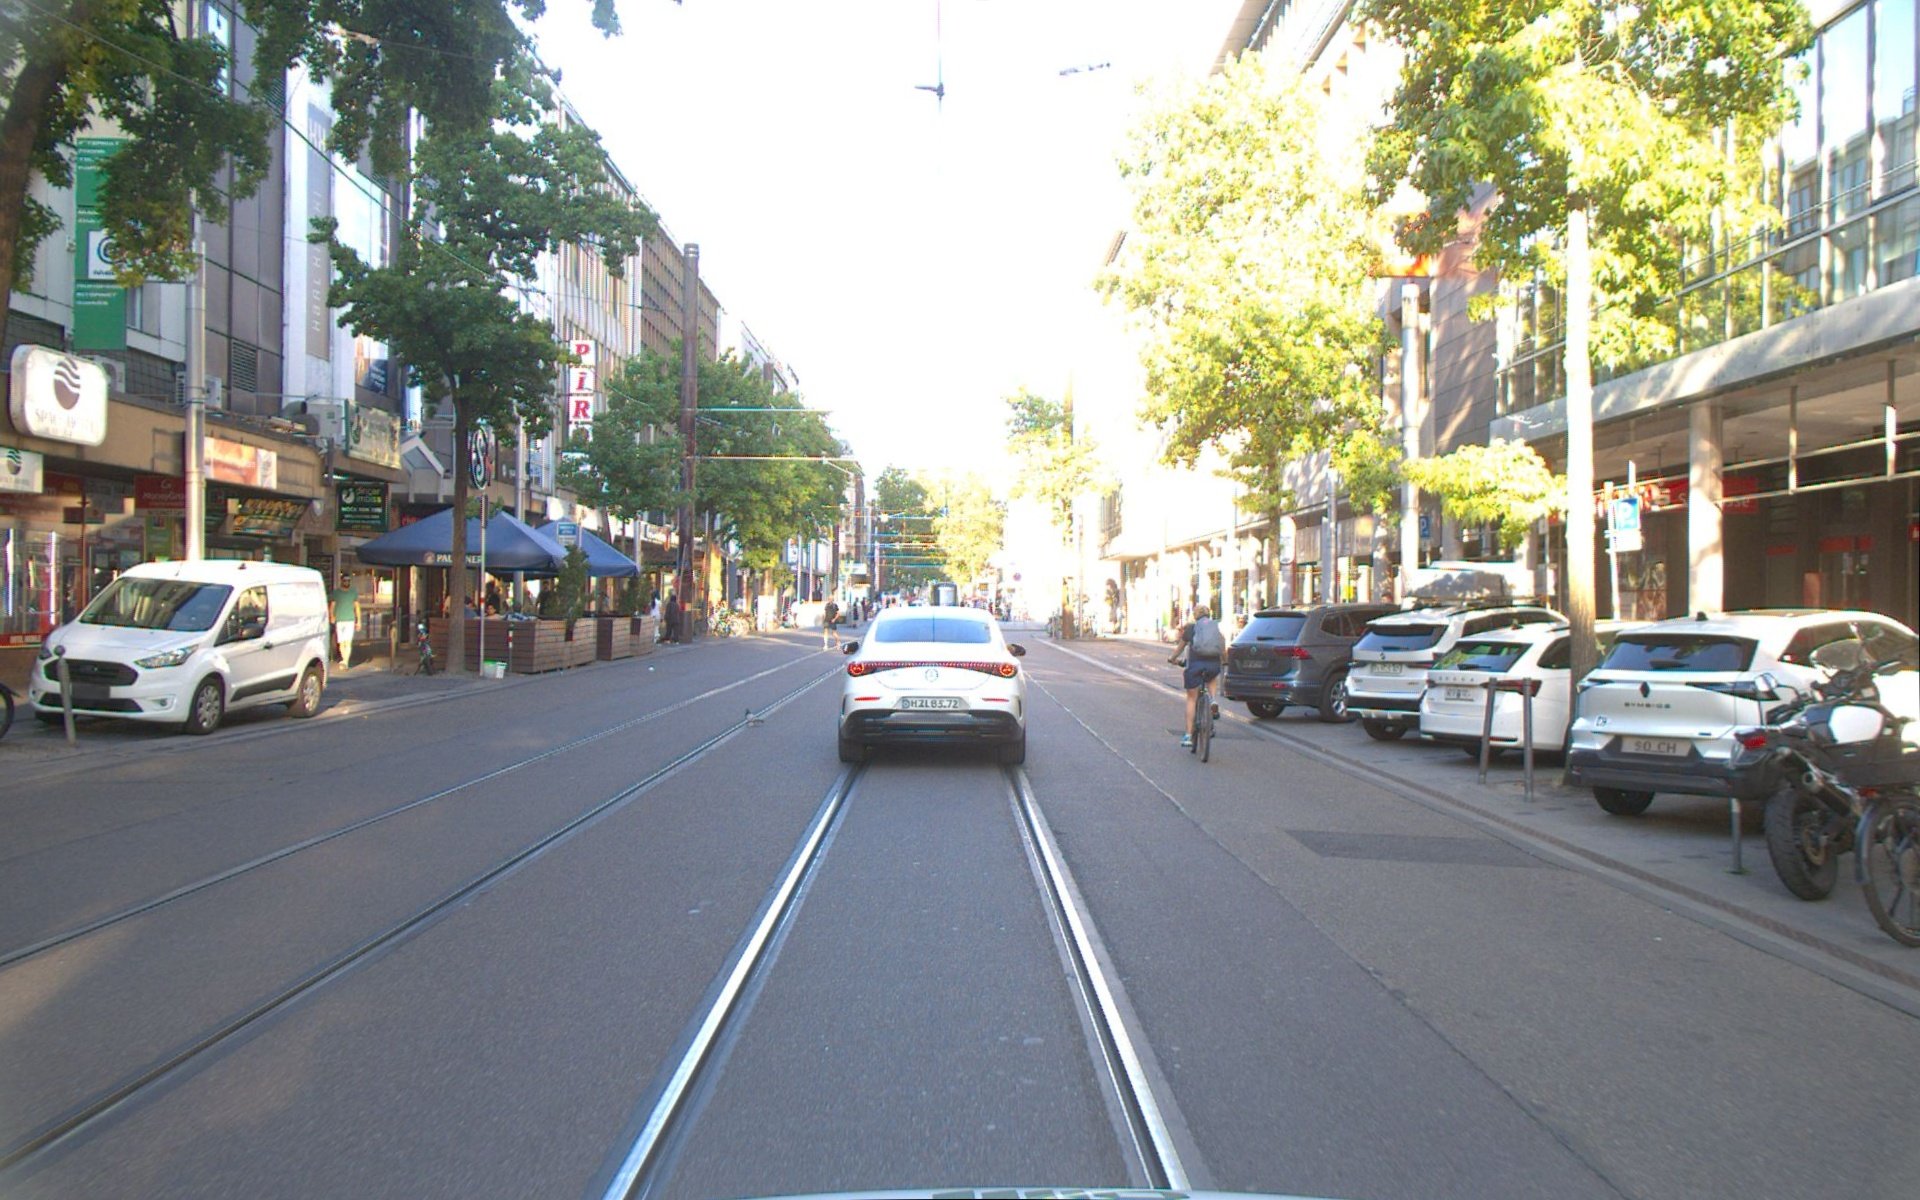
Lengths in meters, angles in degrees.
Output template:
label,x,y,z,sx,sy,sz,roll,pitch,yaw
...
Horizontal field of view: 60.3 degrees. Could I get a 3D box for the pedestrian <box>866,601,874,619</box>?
label,x,y,z,sx,sy,sz,roll,pitch,yaw
pedestrian,-8.006,0.881,146.720,0.646,1.627,0.573,0,0,-2

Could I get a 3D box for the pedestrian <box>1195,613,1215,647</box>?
label,x,y,z,sx,sy,sz,roll,pitch,yaw
pedestrian,8.987,1.106,60.703,0.652,1.219,0.785,1,0,4

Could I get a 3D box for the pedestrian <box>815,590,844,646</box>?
label,x,y,z,sx,sy,sz,roll,pitch,yaw
pedestrian,-4.353,0.604,55.234,0.824,1.832,0.790,2,0,0

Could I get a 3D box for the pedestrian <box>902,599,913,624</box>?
label,x,y,z,sx,sy,sz,roll,pitch,yaw
pedestrian,-3.983,0.881,126.325,0.784,1.813,0.848,2,0,-2

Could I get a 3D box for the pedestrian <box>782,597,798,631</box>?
label,x,y,z,sx,sy,sz,roll,pitch,yaw
pedestrian,-9.283,0.741,90.236,0.771,1.832,0.844,1,0,0

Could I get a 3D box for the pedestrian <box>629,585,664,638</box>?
label,x,y,z,sx,sy,sz,roll,pitch,yaw
pedestrian,-10.906,0.402,57.590,0.832,1.771,0.835,2,0,19

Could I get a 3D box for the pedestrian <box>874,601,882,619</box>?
label,x,y,z,sx,sy,sz,roll,pitch,yaw
pedestrian,-7.300,0.891,146.805,0.646,1.627,0.573,0,0,-2

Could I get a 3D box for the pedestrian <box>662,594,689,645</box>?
label,x,y,z,sx,sy,sz,roll,pitch,yaw
pedestrian,-8.985,0.606,52.242,0.609,1.577,0.852,3,0,0

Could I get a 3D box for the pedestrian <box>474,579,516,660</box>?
label,x,y,z,sx,sy,sz,roll,pitch,yaw
pedestrian,-10.212,0.421,36.325,0.703,1.755,0.675,2,0,-2

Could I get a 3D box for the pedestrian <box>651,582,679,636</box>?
label,x,y,z,sx,sy,sz,roll,pitch,yaw
pedestrian,-10.875,0.326,61.070,0.785,1.957,1.070,3,0,-3

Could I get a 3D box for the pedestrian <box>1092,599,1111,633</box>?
label,x,y,z,sx,sy,sz,roll,pitch,yaw
pedestrian,7.683,0.853,89.966,0.881,1.775,0.689,-3,0,-1

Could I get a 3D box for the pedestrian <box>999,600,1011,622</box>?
label,x,y,z,sx,sy,sz,roll,pitch,yaw
pedestrian,3.847,0.922,140.875,0.941,1.817,0.803,-1,0,-1

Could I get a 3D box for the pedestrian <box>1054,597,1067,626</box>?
label,x,y,z,sx,sy,sz,roll,pitch,yaw
pedestrian,6.441,0.708,105.701,0.733,1.817,0.766,-1,0,-1

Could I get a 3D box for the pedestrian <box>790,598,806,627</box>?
label,x,y,z,sx,sy,sz,roll,pitch,yaw
pedestrian,-9.973,0.758,101.767,0.886,1.728,0.849,0,0,0

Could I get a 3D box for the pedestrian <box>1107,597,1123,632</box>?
label,x,y,z,sx,sy,sz,roll,pitch,yaw
pedestrian,8.422,0.781,89.874,0.687,1.844,1.033,-3,0,-1

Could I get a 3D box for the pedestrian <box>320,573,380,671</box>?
label,x,y,z,sx,sy,sz,roll,pitch,yaw
pedestrian,-11.043,0.392,29.966,0.653,1.715,1.005,2,0,-1

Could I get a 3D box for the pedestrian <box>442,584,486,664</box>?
label,x,y,z,sx,sy,sz,roll,pitch,yaw
pedestrian,-10.348,0.487,34.509,0.659,1.635,0.719,2,0,-1

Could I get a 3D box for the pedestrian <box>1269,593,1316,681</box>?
label,x,y,z,sx,sy,sz,roll,pitch,yaw
pedestrian,6.572,0.724,32.688,0.667,1.715,0.694,-2,0,33

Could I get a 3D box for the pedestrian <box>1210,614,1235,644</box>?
label,x,y,z,sx,sy,sz,roll,pitch,yaw
pedestrian,9.406,1.021,59.204,0.818,1.049,0.696,1,0,4

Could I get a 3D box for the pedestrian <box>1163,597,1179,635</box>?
label,x,y,z,sx,sy,sz,roll,pitch,yaw
pedestrian,9.402,0.700,73.742,0.624,1.682,0.781,1,0,1

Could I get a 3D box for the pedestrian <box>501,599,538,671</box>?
label,x,y,z,sx,sy,sz,roll,pitch,yaw
pedestrian,-8.609,0.672,32.315,0.538,1.380,0.582,2,0,-1

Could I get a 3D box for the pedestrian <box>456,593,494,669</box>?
label,x,y,z,sx,sy,sz,roll,pitch,yaw
pedestrian,-9.487,0.598,32.355,0.538,1.454,0.582,2,0,-1

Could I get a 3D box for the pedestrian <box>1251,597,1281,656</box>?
label,x,y,z,sx,sy,sz,roll,pitch,yaw
pedestrian,8.490,0.734,45.882,0.667,1.600,0.632,2,0,0

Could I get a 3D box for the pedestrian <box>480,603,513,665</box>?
label,x,y,z,sx,sy,sz,roll,pitch,yaw
pedestrian,-9.430,0.687,33.668,0.484,1.249,0.535,2,0,-1

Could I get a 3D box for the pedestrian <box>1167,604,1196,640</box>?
label,x,y,z,sx,sy,sz,roll,pitch,yaw
pedestrian,8.583,0.854,64.093,0.822,1.401,0.772,1,0,-23

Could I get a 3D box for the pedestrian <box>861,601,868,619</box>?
label,x,y,z,sx,sy,sz,roll,pitch,yaw
pedestrian,-8.661,0.939,149.810,0.646,1.627,0.573,0,0,-2

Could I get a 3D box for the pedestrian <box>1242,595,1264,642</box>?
label,x,y,z,sx,sy,sz,roll,pitch,yaw
pedestrian,11.242,0.706,63.428,0.701,1.771,0.835,1,0,0

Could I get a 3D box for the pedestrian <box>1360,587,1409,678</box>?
label,x,y,z,sx,sy,sz,roll,pitch,yaw
pedestrian,8.357,0.636,32.576,0.677,1.761,0.629,-2,0,42

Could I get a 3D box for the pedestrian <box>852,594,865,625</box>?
label,x,y,z,sx,sy,sz,roll,pitch,yaw
pedestrian,-6.389,0.614,104.087,0.531,1.963,0.569,0,-1,43

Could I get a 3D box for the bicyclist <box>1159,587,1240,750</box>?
label,x,y,z,sx,sy,sz,roll,pitch,yaw
bicyclist,2.540,0.708,17.525,0.761,1.641,0.913,2,0,8

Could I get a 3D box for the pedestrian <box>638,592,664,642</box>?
label,x,y,z,sx,sy,sz,roll,pitch,yaw
pedestrian,-9.754,0.538,52.232,0.609,1.535,0.833,3,0,0

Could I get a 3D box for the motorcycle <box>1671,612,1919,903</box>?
label,x,y,z,sx,sy,sz,roll,pitch,yaw
motorcycle,5.292,0.880,10.162,2.302,1.536,0.845,-1,-1,-45

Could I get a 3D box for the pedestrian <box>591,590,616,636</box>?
label,x,y,z,sx,sy,sz,roll,pitch,yaw
pedestrian,-12.363,0.437,57.350,0.609,1.552,0.809,3,0,0

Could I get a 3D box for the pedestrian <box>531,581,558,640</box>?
label,x,y,z,sx,sy,sz,roll,pitch,yaw
pedestrian,-12.820,0.320,51.048,0.585,1.775,0.671,2,0,0
